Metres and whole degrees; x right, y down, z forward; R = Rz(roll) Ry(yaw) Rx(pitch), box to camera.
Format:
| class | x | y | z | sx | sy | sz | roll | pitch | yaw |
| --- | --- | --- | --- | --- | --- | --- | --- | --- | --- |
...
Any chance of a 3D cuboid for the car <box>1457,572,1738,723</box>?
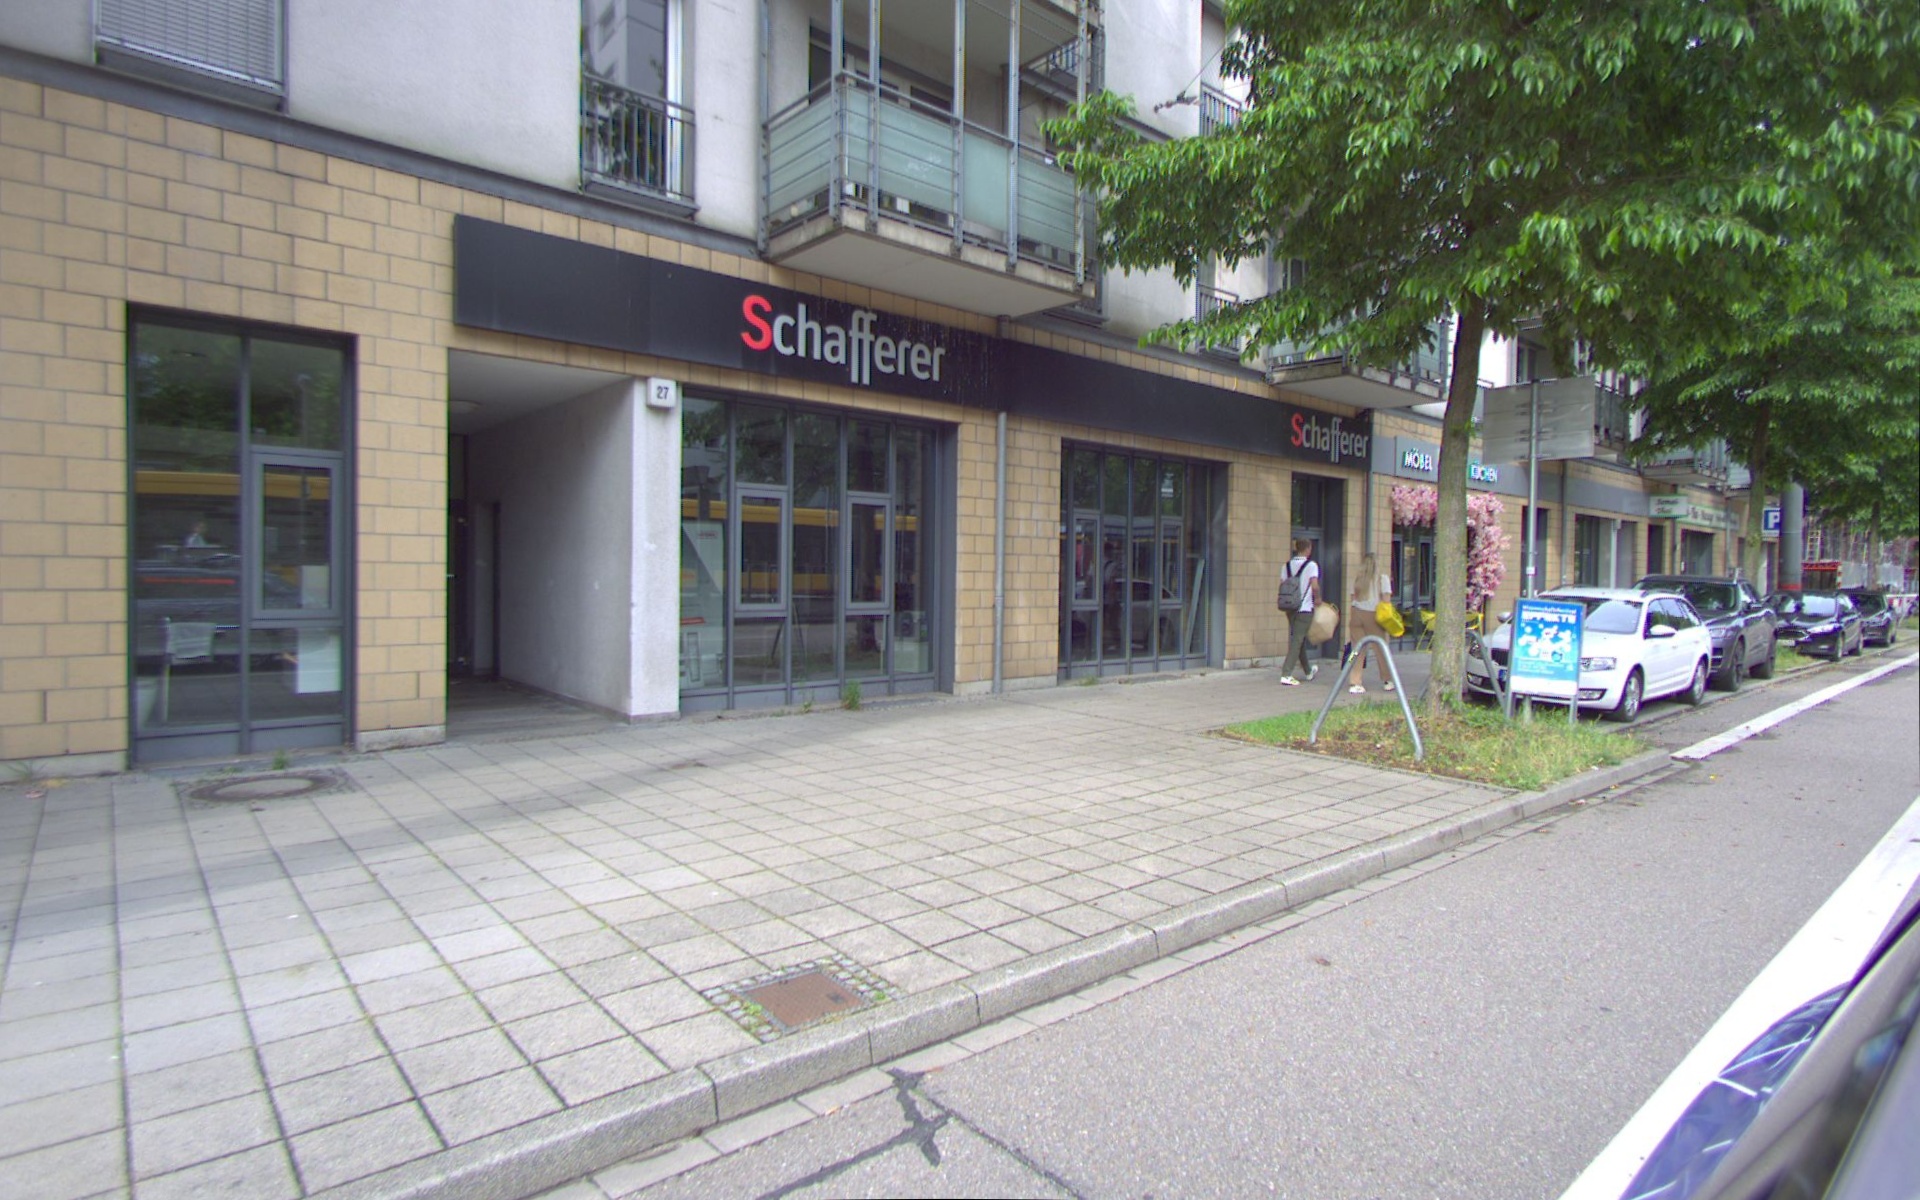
| class | x | y | z | sx | sy | sz | roll | pitch | yaw |
| --- | --- | --- | --- | --- | --- | --- | --- | --- | --- |
| car | 8.128 | 0.457 | 12.746 | 4.312 | 1.517 | 1.681 | -1 | 4 | -40 |

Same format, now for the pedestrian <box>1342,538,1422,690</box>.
| class | x | y | z | sx | sy | sz | roll | pitch | yaw |
| --- | --- | --- | --- | --- | --- | --- | --- | --- | --- |
| pedestrian | 5.236 | 0.153 | 12.567 | 0.724 | 1.828 | 0.617 | 0 | 2 | -39 |

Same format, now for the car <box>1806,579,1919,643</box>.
| class | x | y | z | sx | sy | sz | roll | pitch | yaw |
| --- | --- | --- | --- | --- | --- | --- | --- | --- | --- |
| car | 24.285 | 0.224 | 27.177 | 4.315 | 1.472 | 1.800 | -1 | 5 | -43 |

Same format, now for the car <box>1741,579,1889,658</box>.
| class | x | y | z | sx | sy | sz | roll | pitch | yaw |
| --- | --- | --- | --- | --- | --- | --- | --- | --- | --- |
| car | 18.718 | 0.327 | 22.088 | 4.329 | 1.459 | 1.681 | -1 | 4 | -40 |

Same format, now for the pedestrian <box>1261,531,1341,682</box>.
| class | x | y | z | sx | sy | sz | roll | pitch | yaw |
| --- | --- | --- | --- | --- | --- | --- | --- | --- | --- |
| pedestrian | 4.465 | 0.068 | 13.262 | 0.724 | 1.914 | 0.677 | 0 | 2 | -39 |

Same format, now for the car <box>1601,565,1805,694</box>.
| class | x | y | z | sx | sy | sz | roll | pitch | yaw |
| --- | --- | --- | --- | --- | --- | --- | --- | --- | --- |
| car | 12.073 | 0.354 | 16.323 | 4.632 | 1.737 | 1.715 | -1 | 5 | -42 |
